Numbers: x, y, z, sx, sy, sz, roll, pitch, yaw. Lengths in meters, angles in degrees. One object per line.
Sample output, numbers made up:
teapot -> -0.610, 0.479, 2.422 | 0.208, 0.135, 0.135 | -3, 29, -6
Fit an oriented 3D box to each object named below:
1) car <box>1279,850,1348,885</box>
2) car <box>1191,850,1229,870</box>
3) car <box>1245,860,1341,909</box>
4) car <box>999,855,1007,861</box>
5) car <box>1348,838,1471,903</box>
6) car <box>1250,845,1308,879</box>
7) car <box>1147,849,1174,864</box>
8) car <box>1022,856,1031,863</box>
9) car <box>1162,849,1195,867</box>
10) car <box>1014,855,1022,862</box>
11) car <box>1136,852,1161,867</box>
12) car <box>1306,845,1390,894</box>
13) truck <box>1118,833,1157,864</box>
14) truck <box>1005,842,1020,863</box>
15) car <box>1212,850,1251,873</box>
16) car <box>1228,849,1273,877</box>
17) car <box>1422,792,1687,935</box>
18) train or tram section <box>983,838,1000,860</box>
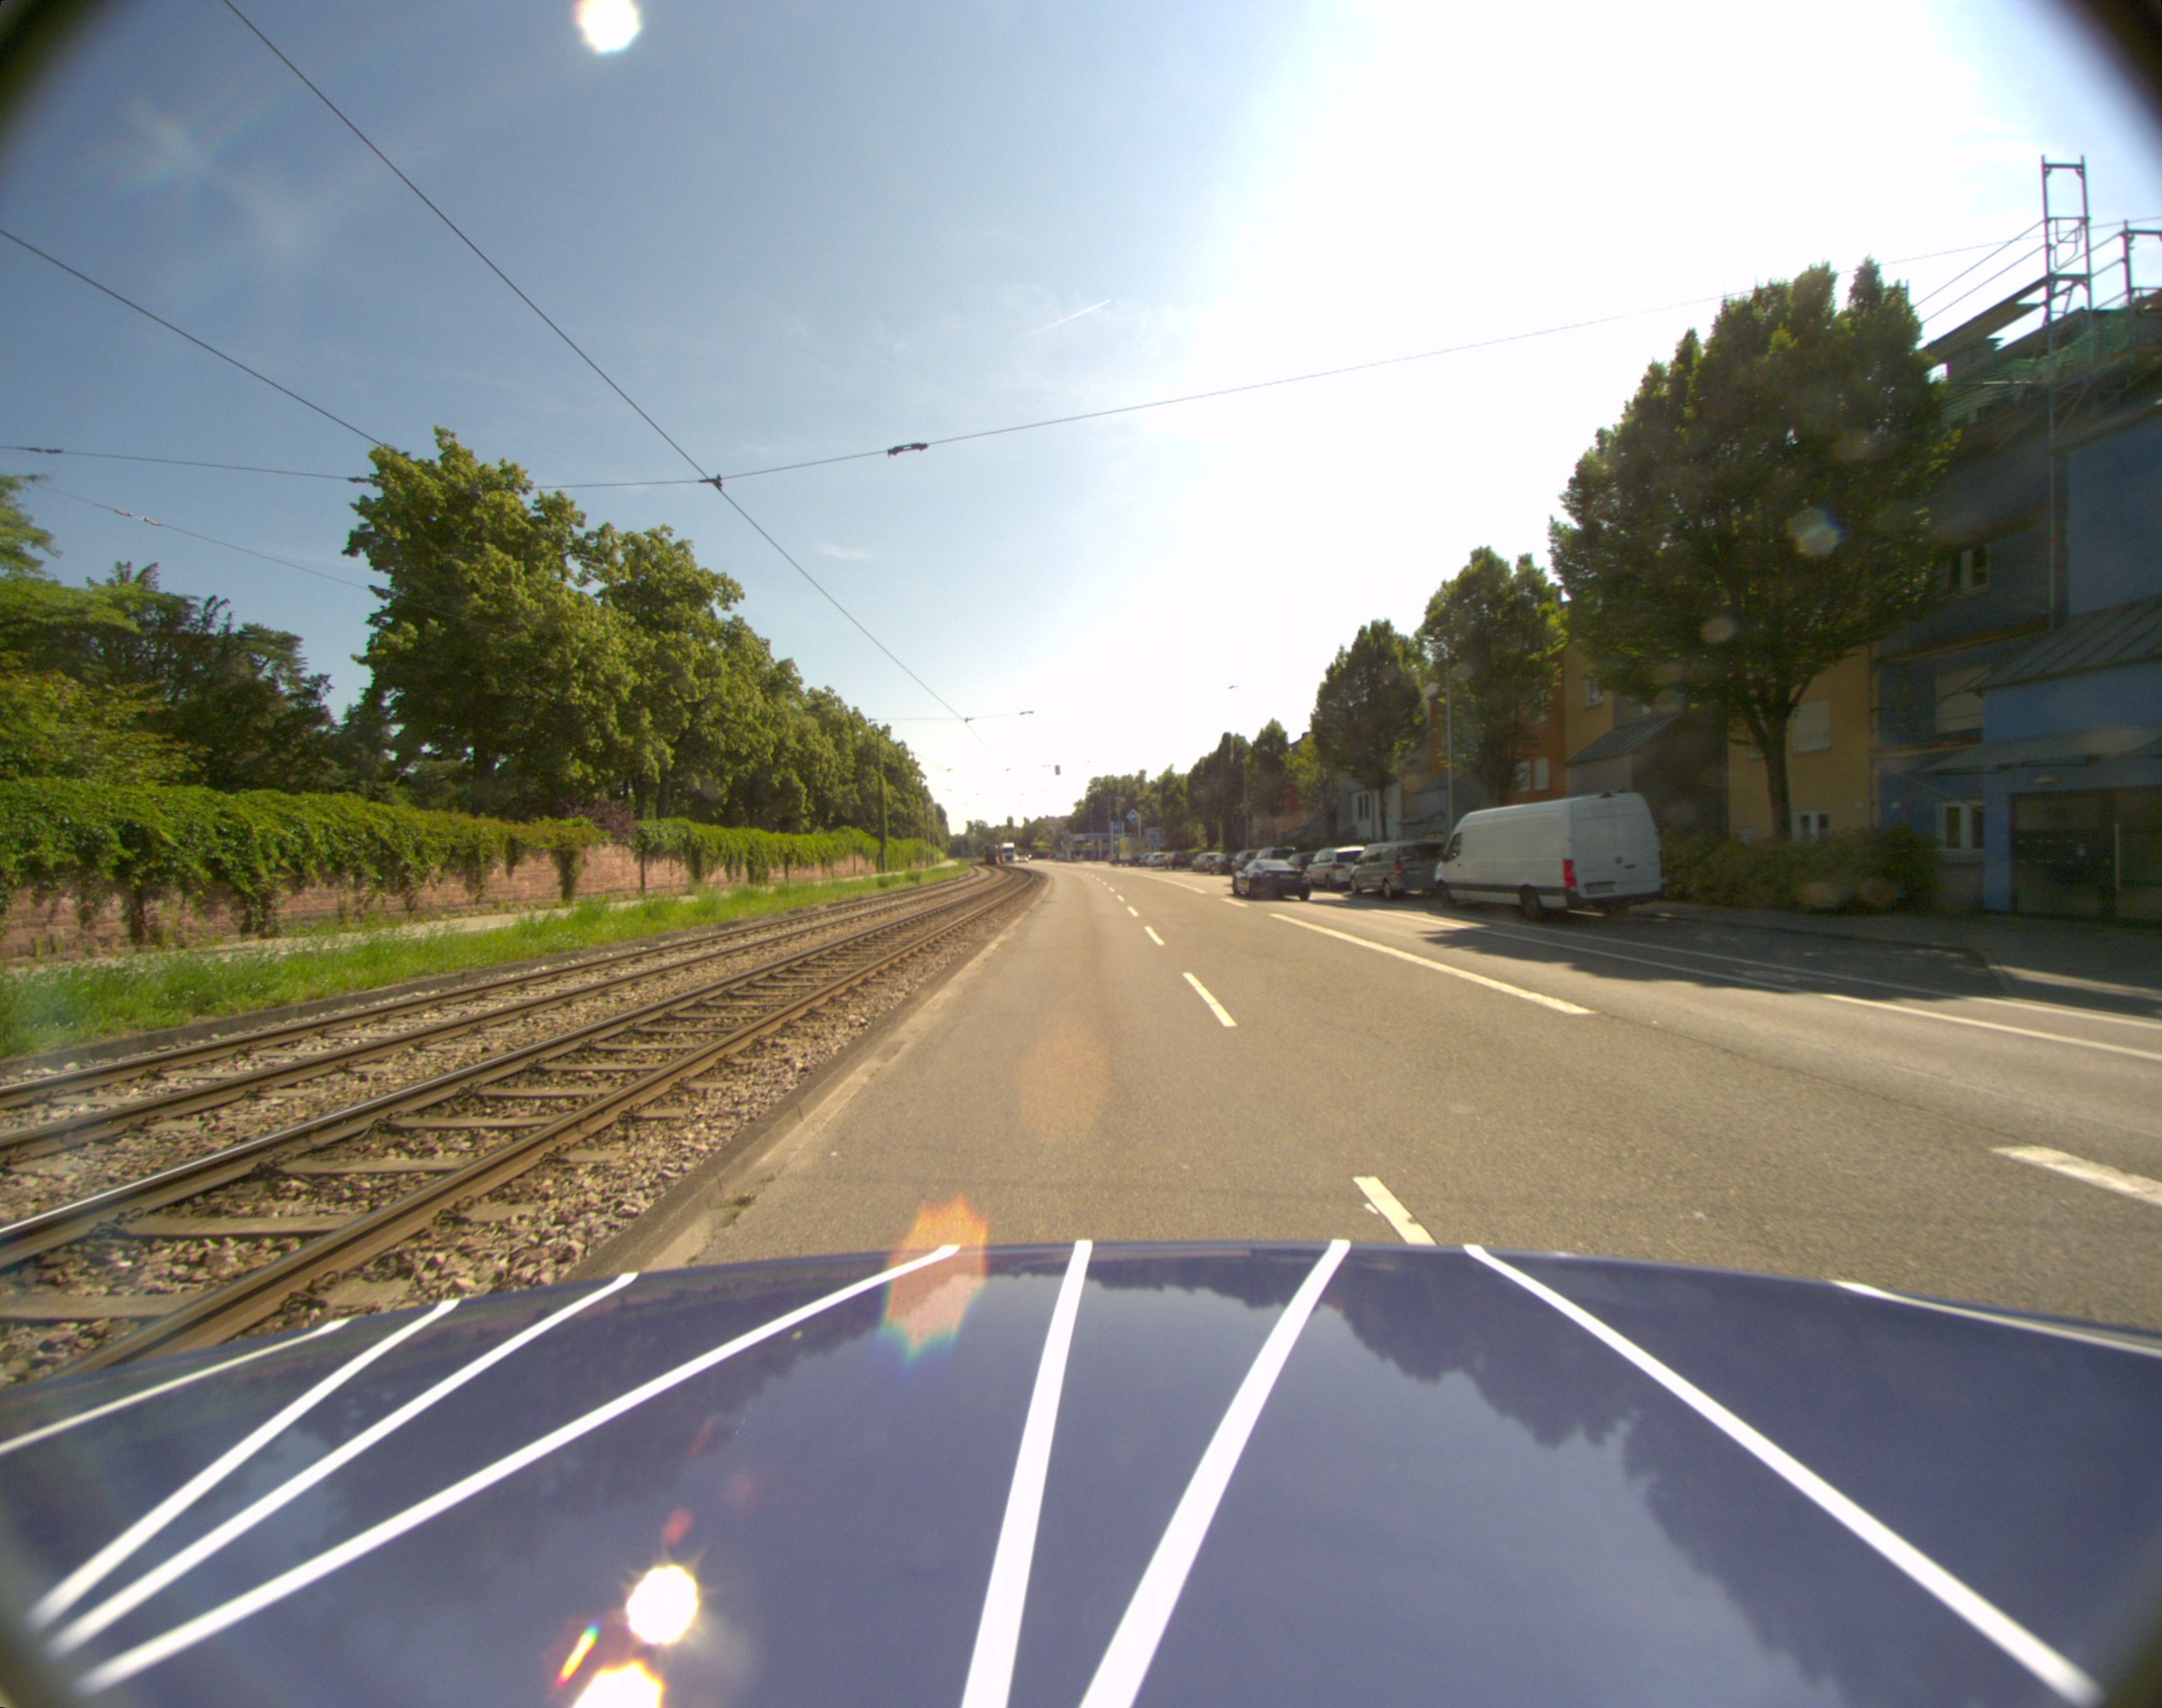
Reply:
car -> 11.288, 0.611, 37.247 | 1.871, 1.447, 4.074 | -5, 1, -3
car -> 10.183, 0.476, 60.273 | 1.682, 1.438, 4.835 | -3, 1, -6
car -> 6.128, 0.835, 22.382 | 1.691, 1.237, 4.064 | 1, 0, 1
car -> -22.579, 1.198, 219.779 | 1.855, 1.707, 3.995 | -4, 1, -11
car -> 11.068, 0.502, 26.053 | 1.998, 1.855, 4.966 | -5, 0, 1
car -> 10.933, 0.394, 42.206 | 1.834, 1.718, 4.348 | -4, 1, -3
car -> 8.265, 0.233, 79.371 | 2.040, 1.490, 4.130 | -3, 1, -6
car -> -11.549, 1.105, 159.502 | 1.748, 1.421, 5.039 | -2, 0, -5
car -> 9.118, 0.327, 71.564 | 1.911, 1.567, 4.929 | -3, 1, -6
car -> -14.796, 1.129, 177.438 | 1.785, 1.538, 4.392 | -3, 0, -5
car -> 7.460, 0.623, 84.278 | 1.915, 1.469, 4.213 | -3, 1, -6
car -> 10.956, 0.578, 31.529 | 1.852, 1.693, 4.540 | -5, 1, 1
truck -> 6.682, -0.648, 91.673 | 3.165, 3.534, 8.779 | -1, 0, -6
truck -> -13.789, -0.328, 152.030 | 2.806, 3.926, 11.936 | -1, 0, -6
car -> 10.539, 0.485, 53.385 | 1.681, 1.462, 4.212 | -3, 1, -3
car -> 10.603, 0.509, 47.808 | 1.681, 1.598, 4.164 | -3, 1, -3
car -> 10.882, 0.173, 18.440 | 1.998, 2.662, 7.086 | -5, 0, 2
train or tram section -> -16.571, -0.886, 141.818 | 2.722, 3.716, 18.867 | -2, 0, -6
